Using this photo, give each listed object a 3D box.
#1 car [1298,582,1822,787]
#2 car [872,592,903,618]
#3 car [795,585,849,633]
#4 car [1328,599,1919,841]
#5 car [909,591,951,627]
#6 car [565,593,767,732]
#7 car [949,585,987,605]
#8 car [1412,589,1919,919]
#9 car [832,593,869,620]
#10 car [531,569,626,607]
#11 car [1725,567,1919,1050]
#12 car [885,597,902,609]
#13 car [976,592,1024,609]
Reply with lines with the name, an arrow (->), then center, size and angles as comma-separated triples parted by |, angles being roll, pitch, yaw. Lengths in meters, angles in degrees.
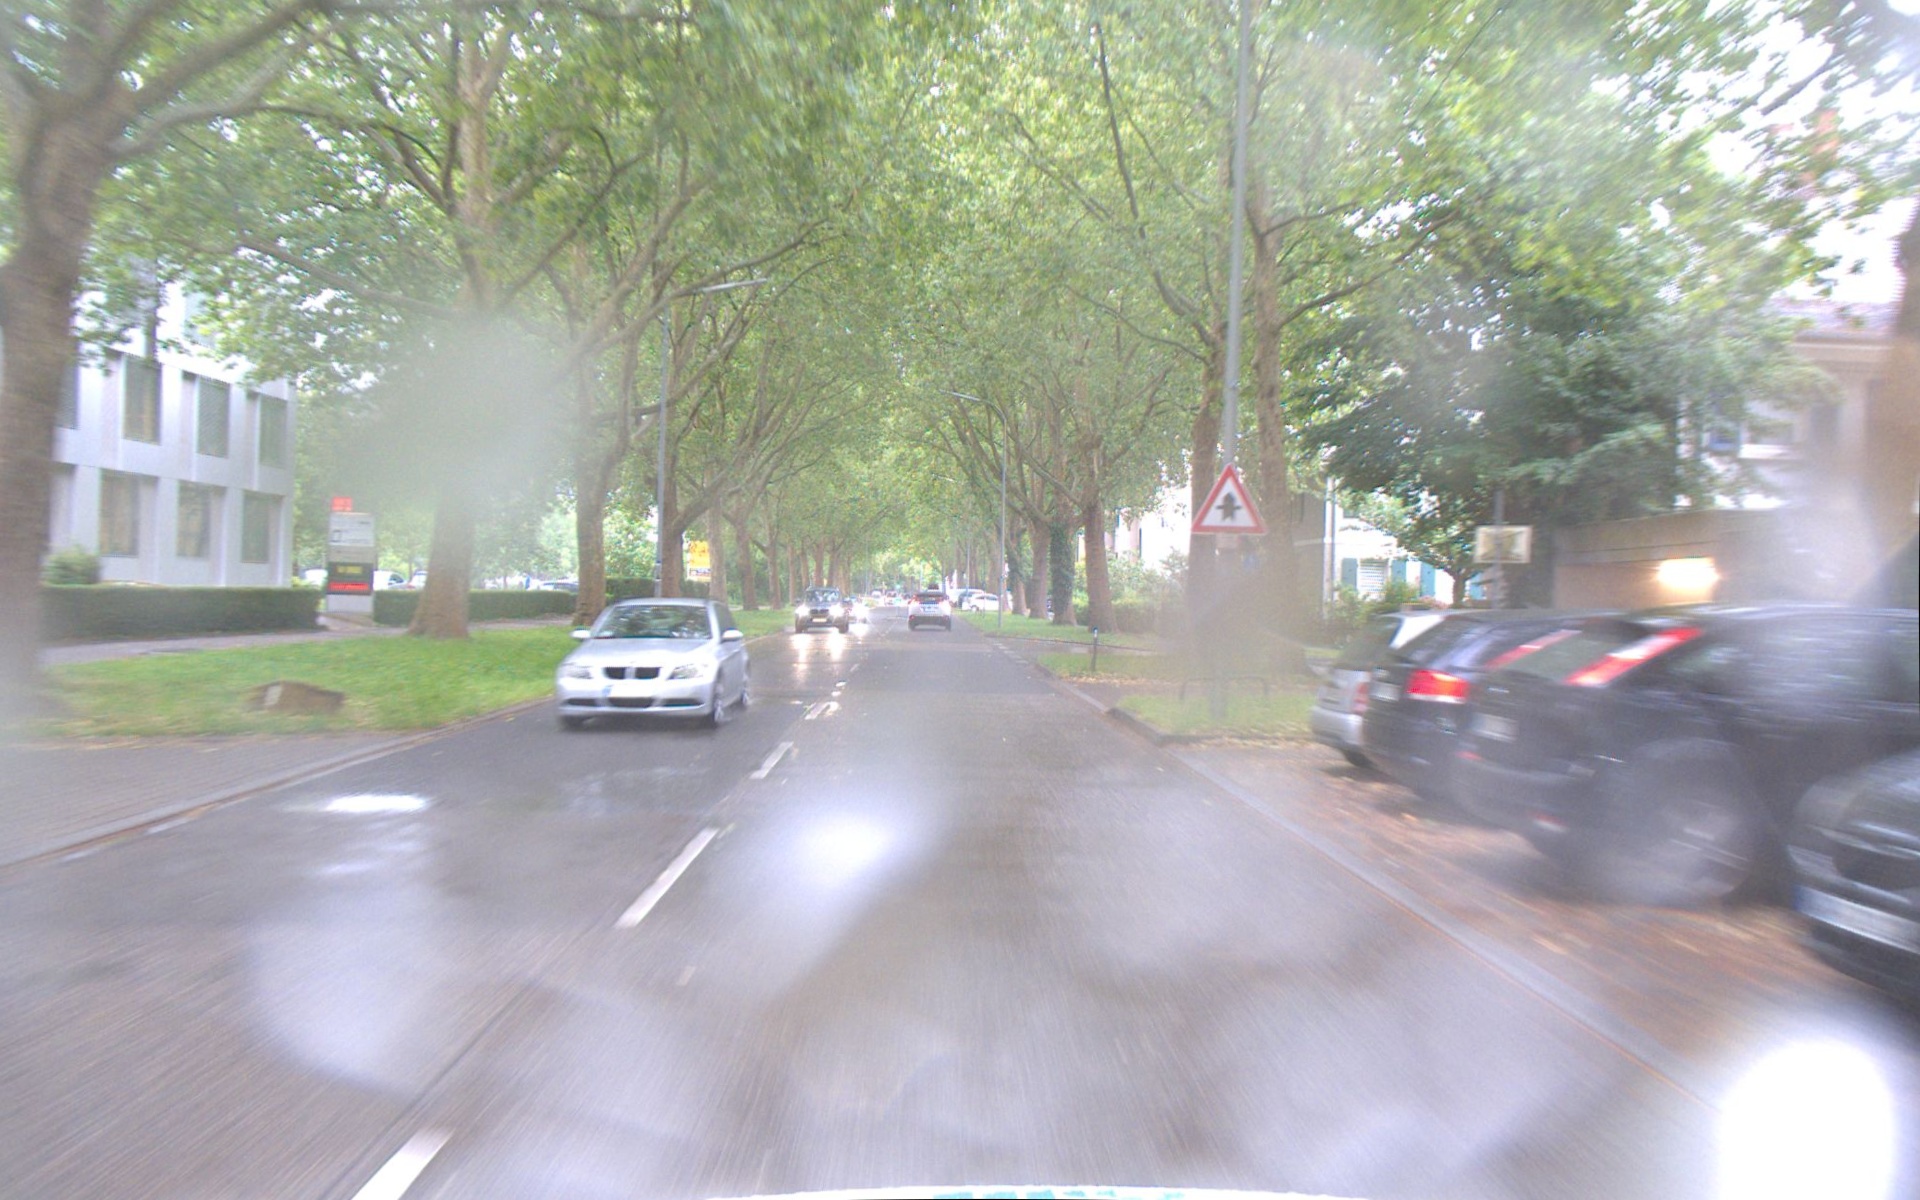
car -> 5.058, 0.677, 14.295 | 3.906, 1.606, 1.679 | 1, 0, -1
car -> -4.166, 0.292, 95.579 | 1.671, 1.436, 3.644 | 0, 1, -1
car -> -5.123, 0.289, 61.805 | 1.773, 1.713, 4.446 | 0, 1, -2
car -> 4.676, 0.768, 11.352 | 3.906, 1.463, 1.679 | 1, 0, -1
car -> -1.252, 0.354, 68.601 | 1.671, 1.436, 3.644 | 0, 1, -1
car -> -3.365, 0.651, 19.716 | 1.644, 1.413, 4.548 | 0, 1, -1
car -> 0.721, -0.466, 153.429 | 3.476, 1.873, 1.711 | 0, 0, -3
car -> 4.694, 0.749, 8.857 | 4.017, 1.540, 1.864 | 1, 0, -1
car -> -5.442, 0.319, 82.268 | 1.671, 1.272, 3.644 | 0, 1, -1
car -> -17.679, -0.565, 76.734 | 3.906, 1.651, 2.000 | 2, 0, -1
car -> 5.072, 0.728, 5.785 | 3.961, 1.557, 1.779 | 2, 1, -4
car -> -7.268, 0.325, 181.792 | 1.685, 1.276, 4.000 | 2, 1, -1
car -> 3.020, 0.032, 125.660 | 3.477, 1.175, 1.710 | 0, 1, -4
